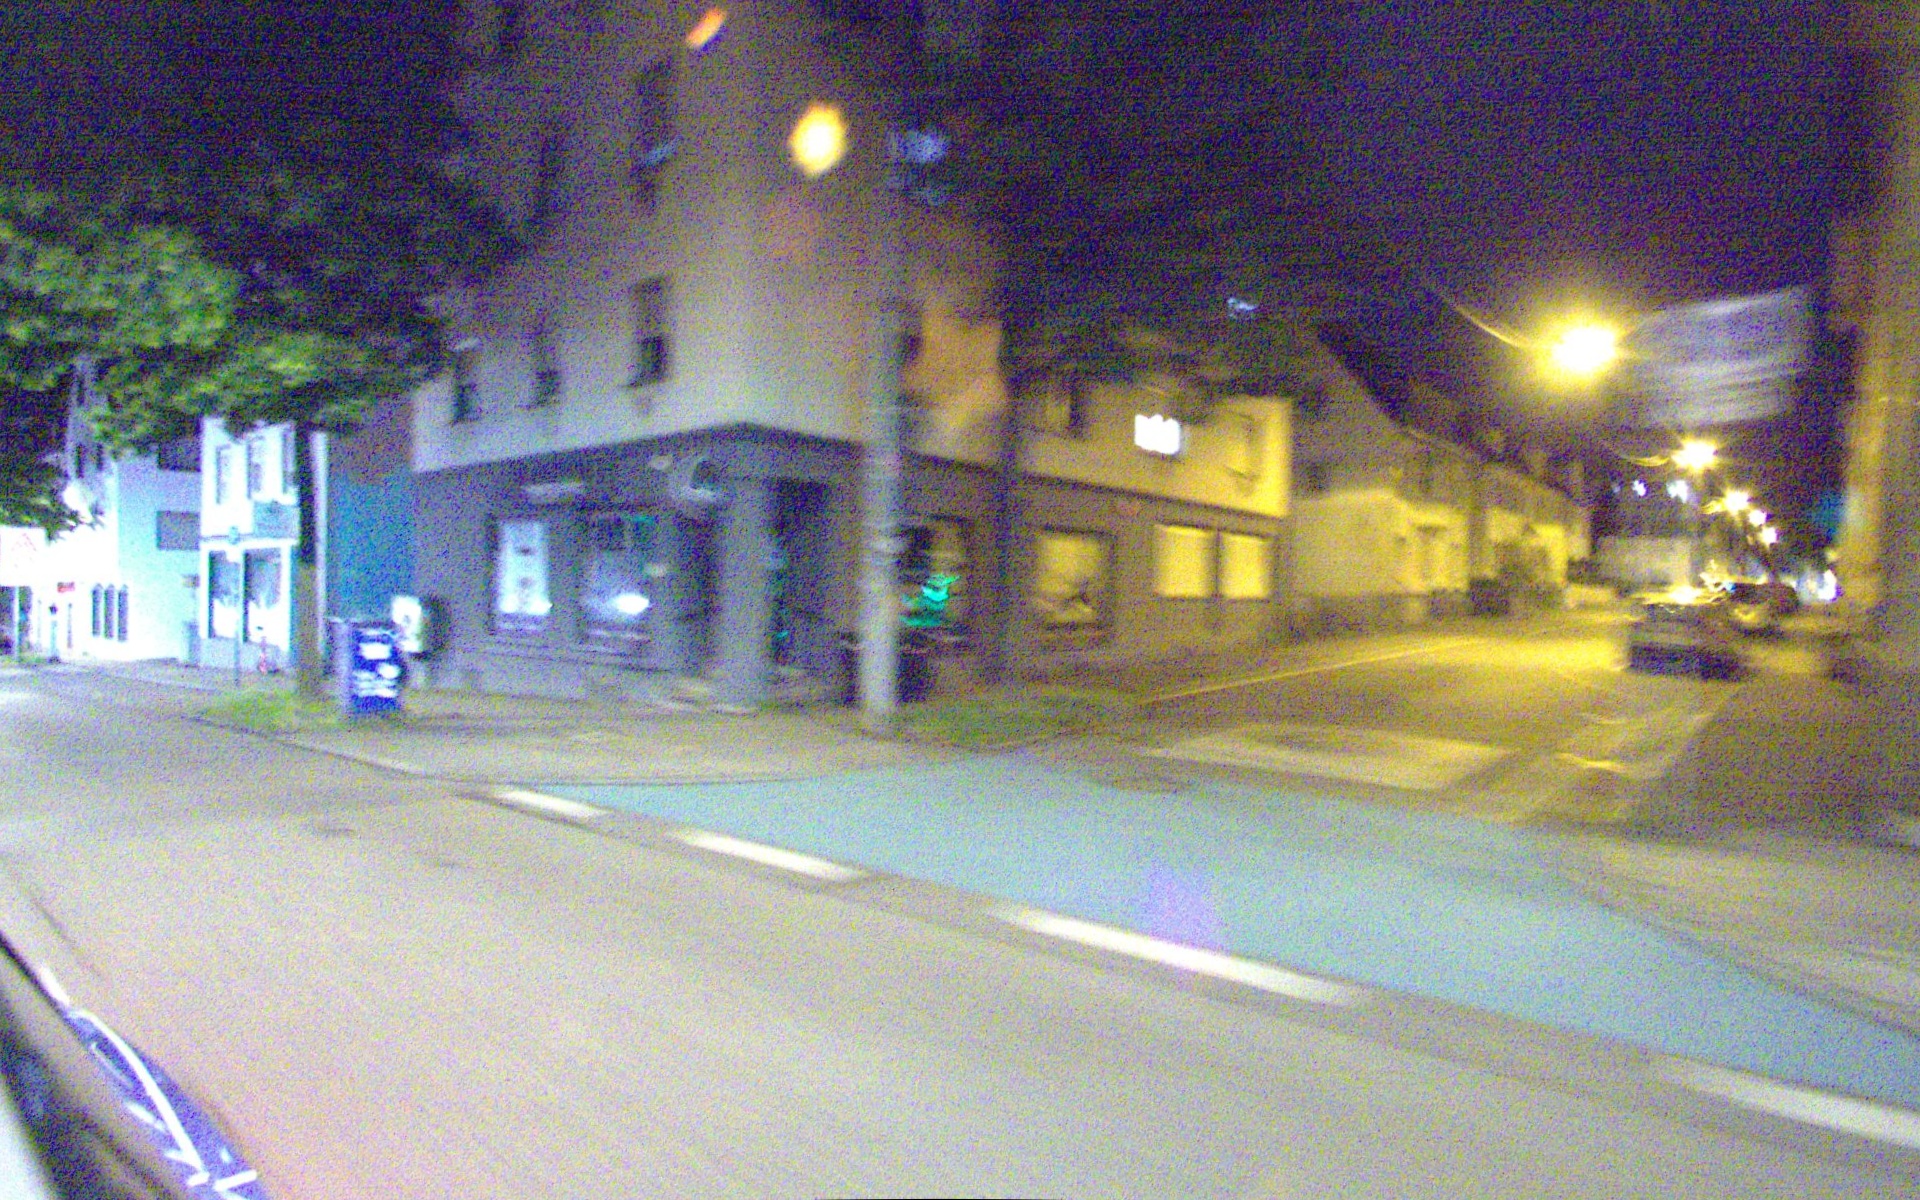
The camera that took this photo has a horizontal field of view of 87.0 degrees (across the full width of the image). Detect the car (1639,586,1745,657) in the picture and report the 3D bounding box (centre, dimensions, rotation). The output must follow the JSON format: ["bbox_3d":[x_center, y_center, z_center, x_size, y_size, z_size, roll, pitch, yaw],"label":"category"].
[{"bbox_3d":[18.338,0.471,25.287,1.765,1.553,3.946,4,3,41],"label":"car"}]

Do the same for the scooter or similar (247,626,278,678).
[{"bbox_3d":[-17.397,1.277,25.247,1.335,1.235,0.328,-1,0,42],"label":"scooter or similar"}]

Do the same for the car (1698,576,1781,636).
[{"bbox_3d":[26.160,0.136,33.913,1.985,1.826,4.090,3,3,40],"label":"car"}]

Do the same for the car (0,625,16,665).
[{"bbox_3d":[-38.542,1.768,39.684,4.287,1.497,1.709,-1,0,40],"label":"car"}]

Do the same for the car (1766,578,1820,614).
[{"bbox_3d":[40.984,-0.202,49.765,1.937,1.709,3.883,-1,0,41],"label":"car"}]

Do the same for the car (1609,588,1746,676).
[{"bbox_3d":[15.030,0.574,21.123,1.928,1.553,3.946,4,3,41],"label":"car"}]
